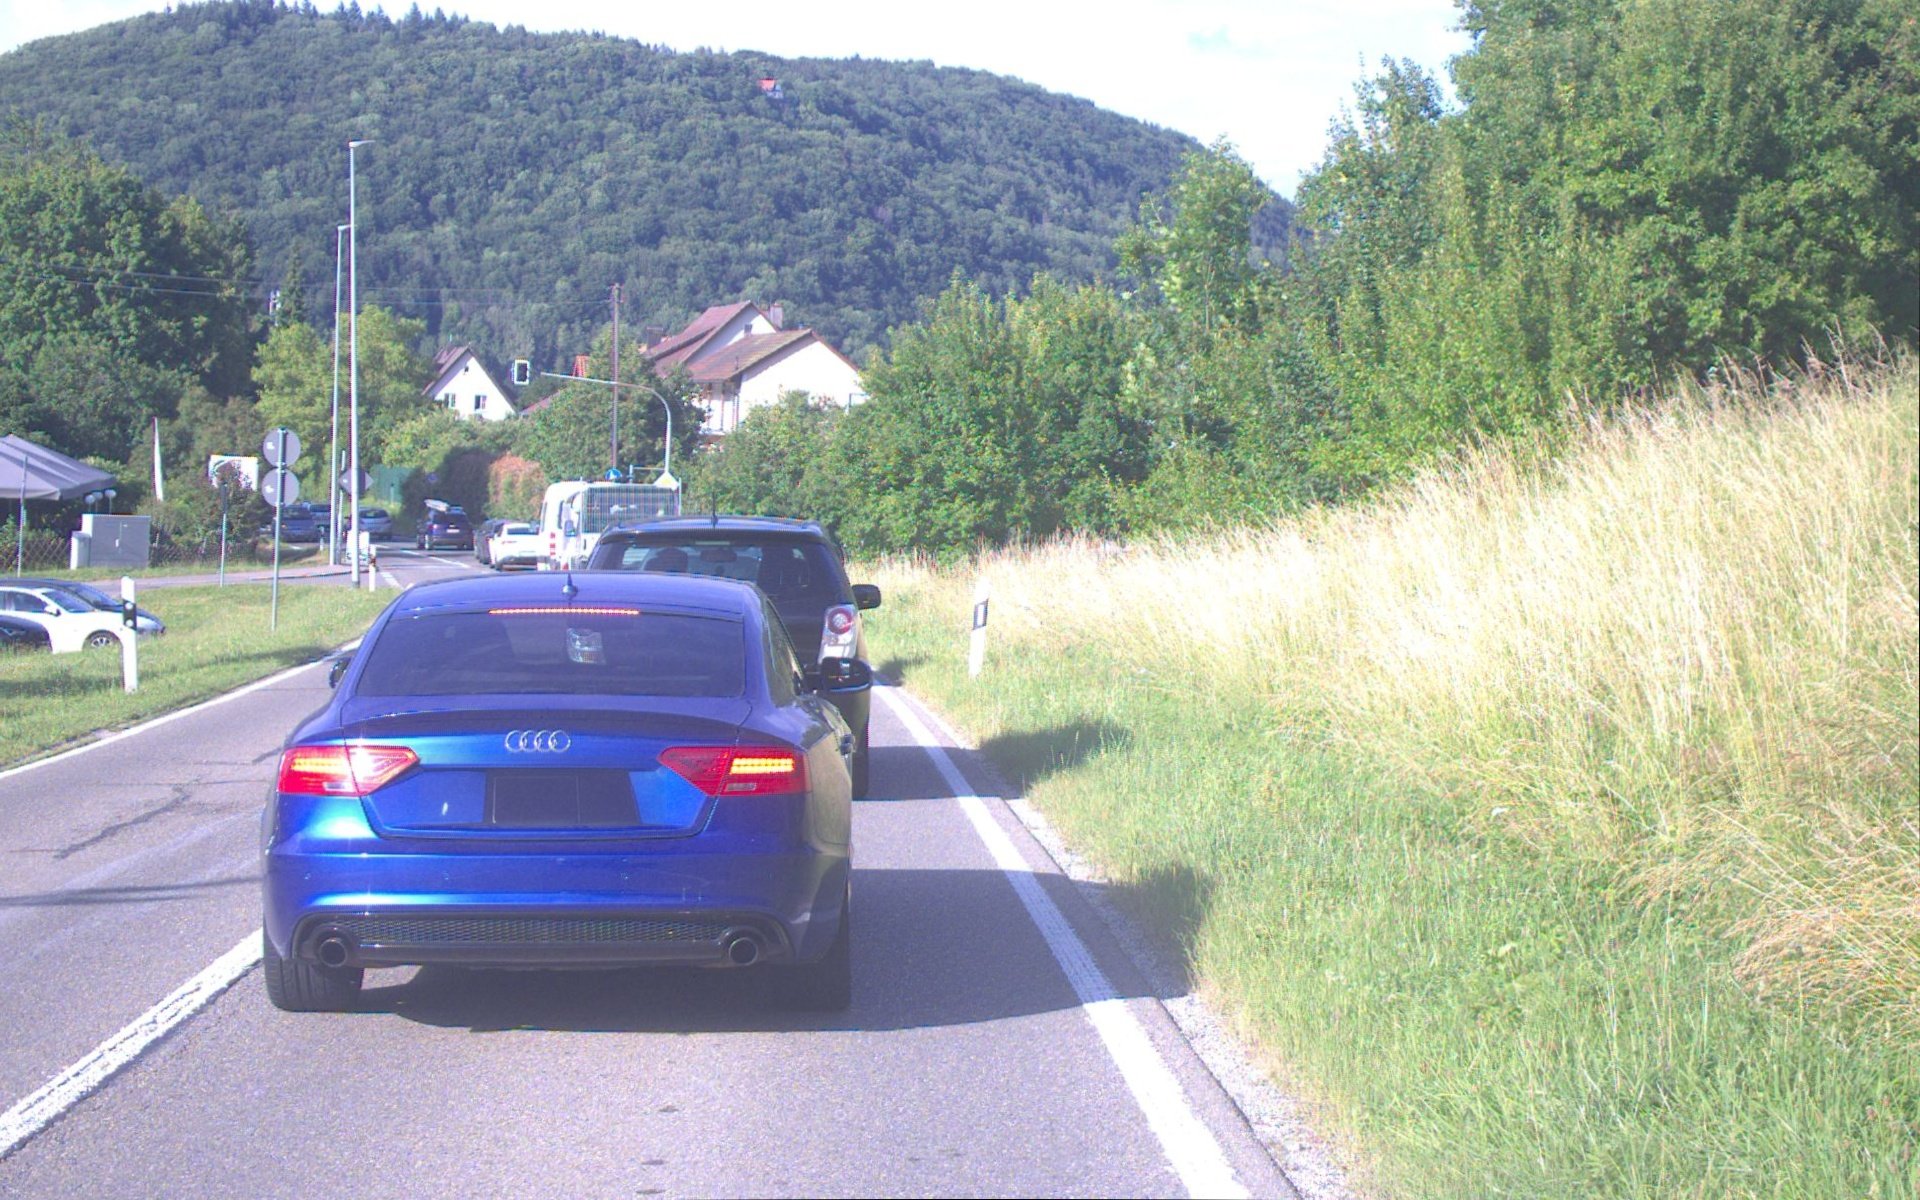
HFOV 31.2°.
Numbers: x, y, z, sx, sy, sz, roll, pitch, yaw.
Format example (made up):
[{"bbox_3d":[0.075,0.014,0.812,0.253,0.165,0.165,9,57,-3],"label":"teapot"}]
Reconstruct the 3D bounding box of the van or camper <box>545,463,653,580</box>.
[{"bbox_3d":[-8.721,-1.866,82.711,2.280,2.704,5.769,-1,1,-9],"label":"van or camper"}]

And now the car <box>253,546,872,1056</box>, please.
[{"bbox_3d":[-1.261,0.552,11.573,1.742,1.445,3.517,1,1,-4],"label":"car"}]

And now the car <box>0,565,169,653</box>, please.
[{"bbox_3d":[-17.516,0.169,66.365,4.037,1.655,1.655,0,1,9],"label":"car"}]

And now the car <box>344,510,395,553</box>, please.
[{"bbox_3d":[-26.880,-3.114,156.458,1.676,1.918,4.001,-1,1,-18],"label":"car"}]

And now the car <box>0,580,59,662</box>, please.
[{"bbox_3d":[-18.301,0.371,61.901,3.713,1.434,1.509,0,1,9],"label":"car"}]

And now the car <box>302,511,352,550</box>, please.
[{"bbox_3d":[-31.606,-3.459,171.561,1.676,1.918,4.001,-1,1,-22],"label":"car"}]

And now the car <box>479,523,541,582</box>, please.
[{"bbox_3d":[-14.935,-1.569,113.966,1.659,1.918,4.001,-1,1,-13],"label":"car"}]

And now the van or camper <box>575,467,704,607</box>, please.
[{"bbox_3d":[-6.070,-1.161,64.600,2.051,2.497,5.813,-1,1,-9],"label":"van or camper"}]

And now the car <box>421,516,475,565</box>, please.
[{"bbox_3d":[-20.570,-2.383,138.144,1.676,1.918,4.001,-1,1,-15],"label":"car"}]

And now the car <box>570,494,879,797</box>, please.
[{"bbox_3d":[-1.405,0.224,20.602,1.645,1.619,3.517,2,1,-4],"label":"car"}]

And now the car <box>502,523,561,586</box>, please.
[{"bbox_3d":[-13.274,-1.406,106.289,1.659,1.918,4.001,-1,1,-9],"label":"car"}]
